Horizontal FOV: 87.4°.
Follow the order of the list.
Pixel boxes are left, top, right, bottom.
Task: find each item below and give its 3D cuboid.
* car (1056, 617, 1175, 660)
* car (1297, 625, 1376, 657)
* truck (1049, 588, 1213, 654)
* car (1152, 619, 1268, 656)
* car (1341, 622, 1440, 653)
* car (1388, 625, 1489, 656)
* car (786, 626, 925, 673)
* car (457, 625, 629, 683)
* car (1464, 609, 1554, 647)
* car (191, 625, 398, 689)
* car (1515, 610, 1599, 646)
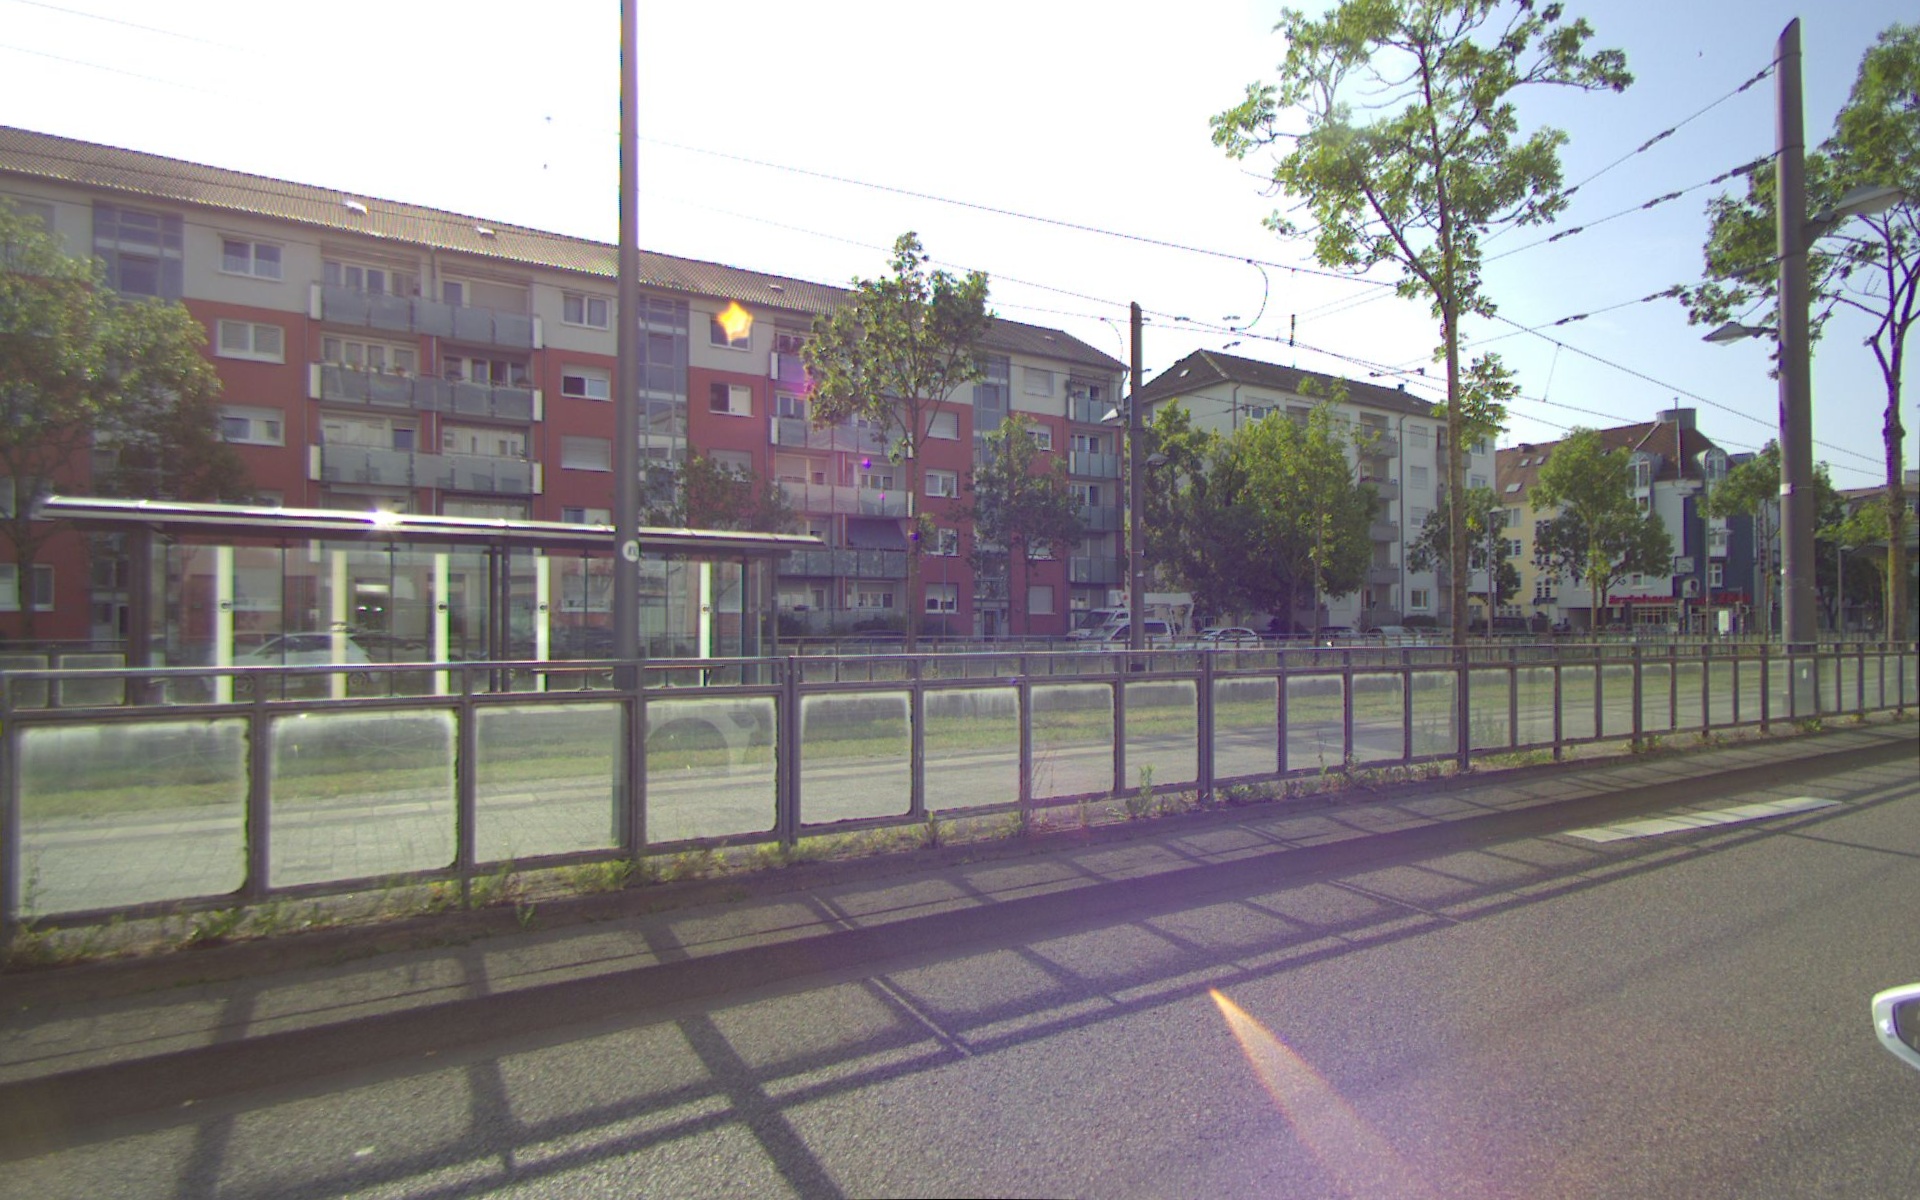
[{"bbox_3d":[5.936,1.431,38.106,4.234,1.533,1.969,1,0,-33],"label":"car"},{"bbox_3d":[15.757,1.673,42.231,1.796,1.260,4.000,0,-1,-1],"label":"car"},{"bbox_3d":[7.347,0.876,42.710,7.162,2.597,2.352,1,0,-33],"label":"truck"},{"bbox_3d":[10.222,1.510,40.925,4.633,1.397,1.969,1,0,-33],"label":"car"},{"bbox_3d":[18.707,1.602,43.857,1.907,1.260,3.987,0,-1,-16],"label":"car"},{"bbox_3d":[21.210,1.776,44.697,1.907,1.260,3.987,0,-1,-16],"label":"car"},{"bbox_3d":[-3.345,1.551,32.330,4.025,1.378,1.969,1,0,-33],"label":"car"},{"bbox_3d":[-11.252,1.406,27.138,4.025,1.378,1.969,1,0,-33],"label":"car"},{"bbox_3d":[31.936,1.624,58.412,5.254,2.058,2.352,1,0,-33],"label":"car"},{"bbox_3d":[-16.006,1.319,24.368,4.025,1.378,1.969,1,0,-33],"label":"car"},{"bbox_3d":[36.598,1.710,61.546,5.254,2.058,2.352,1,0,-33],"label":"car"}]
